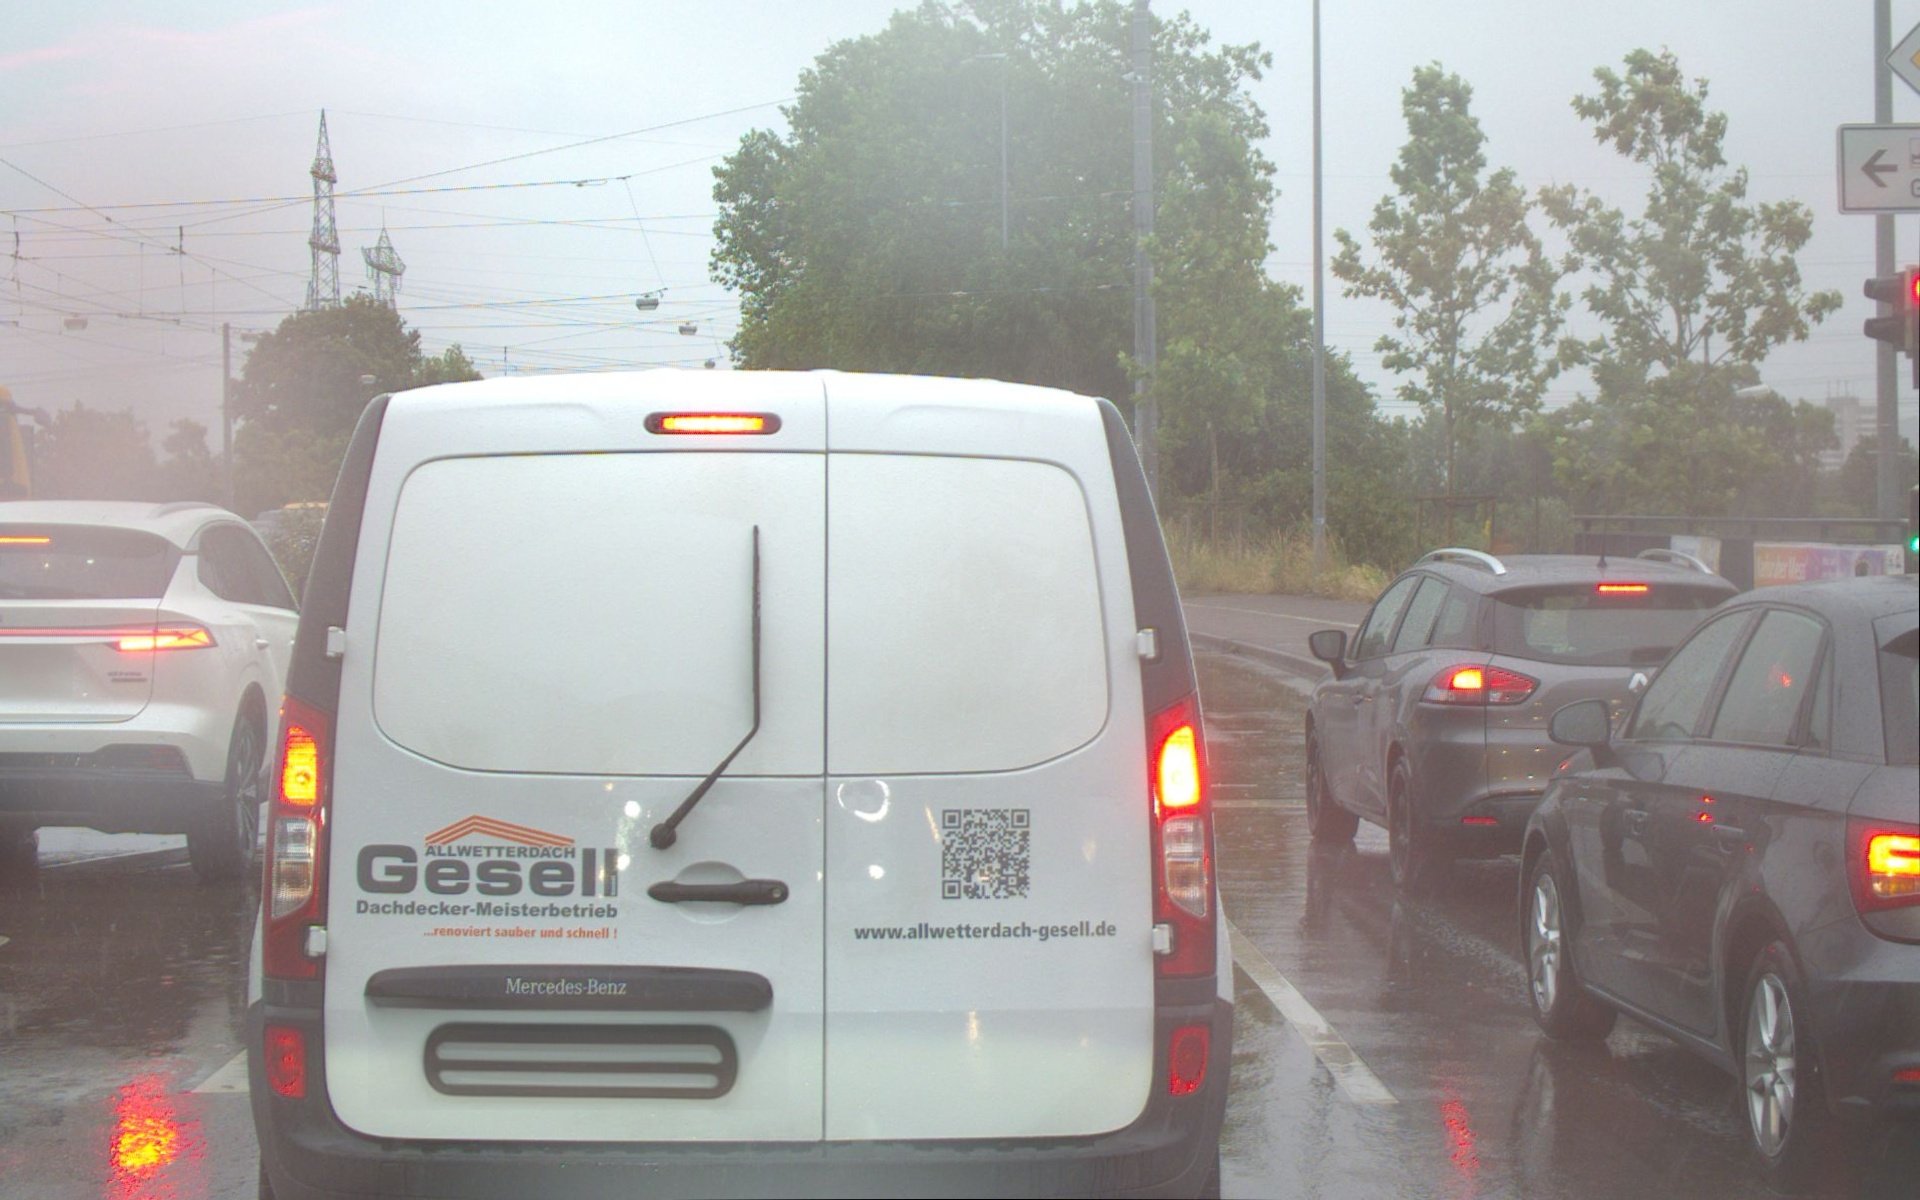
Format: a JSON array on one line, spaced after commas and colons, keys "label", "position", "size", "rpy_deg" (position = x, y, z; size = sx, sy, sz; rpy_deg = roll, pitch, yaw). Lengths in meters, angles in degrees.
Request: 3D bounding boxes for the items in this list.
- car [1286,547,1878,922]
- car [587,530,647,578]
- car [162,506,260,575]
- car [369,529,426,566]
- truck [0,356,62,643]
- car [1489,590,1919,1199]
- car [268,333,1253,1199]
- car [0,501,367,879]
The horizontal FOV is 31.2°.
[{"label": "car", "position": [2.645, 0.507, 15.519], "size": [1.859, 1.424, 3.808], "rpy_deg": [1, 1, -2]}, {"label": "car", "position": [-10.942, -1.471, 109.570], "size": [1.614, 1.498, 3.716], "rpy_deg": [1, 1, -10]}, {"label": "car", "position": [-22.635, -1.788, 103.985], "size": [1.993, 2.007, 4.000], "rpy_deg": [1, 1, 1]}, {"label": "car", "position": [-27.214, -2.529, 166.410], "size": [1.993, 1.702, 4.000], "rpy_deg": [1, 1, 1]}, {"label": "truck", "position": [-12.619, -1.006, 33.351], "size": [7.121, 2.806, 2.641], "rpy_deg": [0, 1, -29]}, {"label": "car", "position": [2.523, 0.671, 8.924], "size": [1.629, 1.340, 3.624], "rpy_deg": [1, 1, -2]}, {"label": "car", "position": [-0.341, 0.442, 7.494], "size": [1.566, 1.782, 4.000], "rpy_deg": [0, 1, -1]}, {"label": "car", "position": [-3.968, 0.309, 16.145], "size": [1.728, 1.530, 4.298], "rpy_deg": [1, 1, -2]}]
